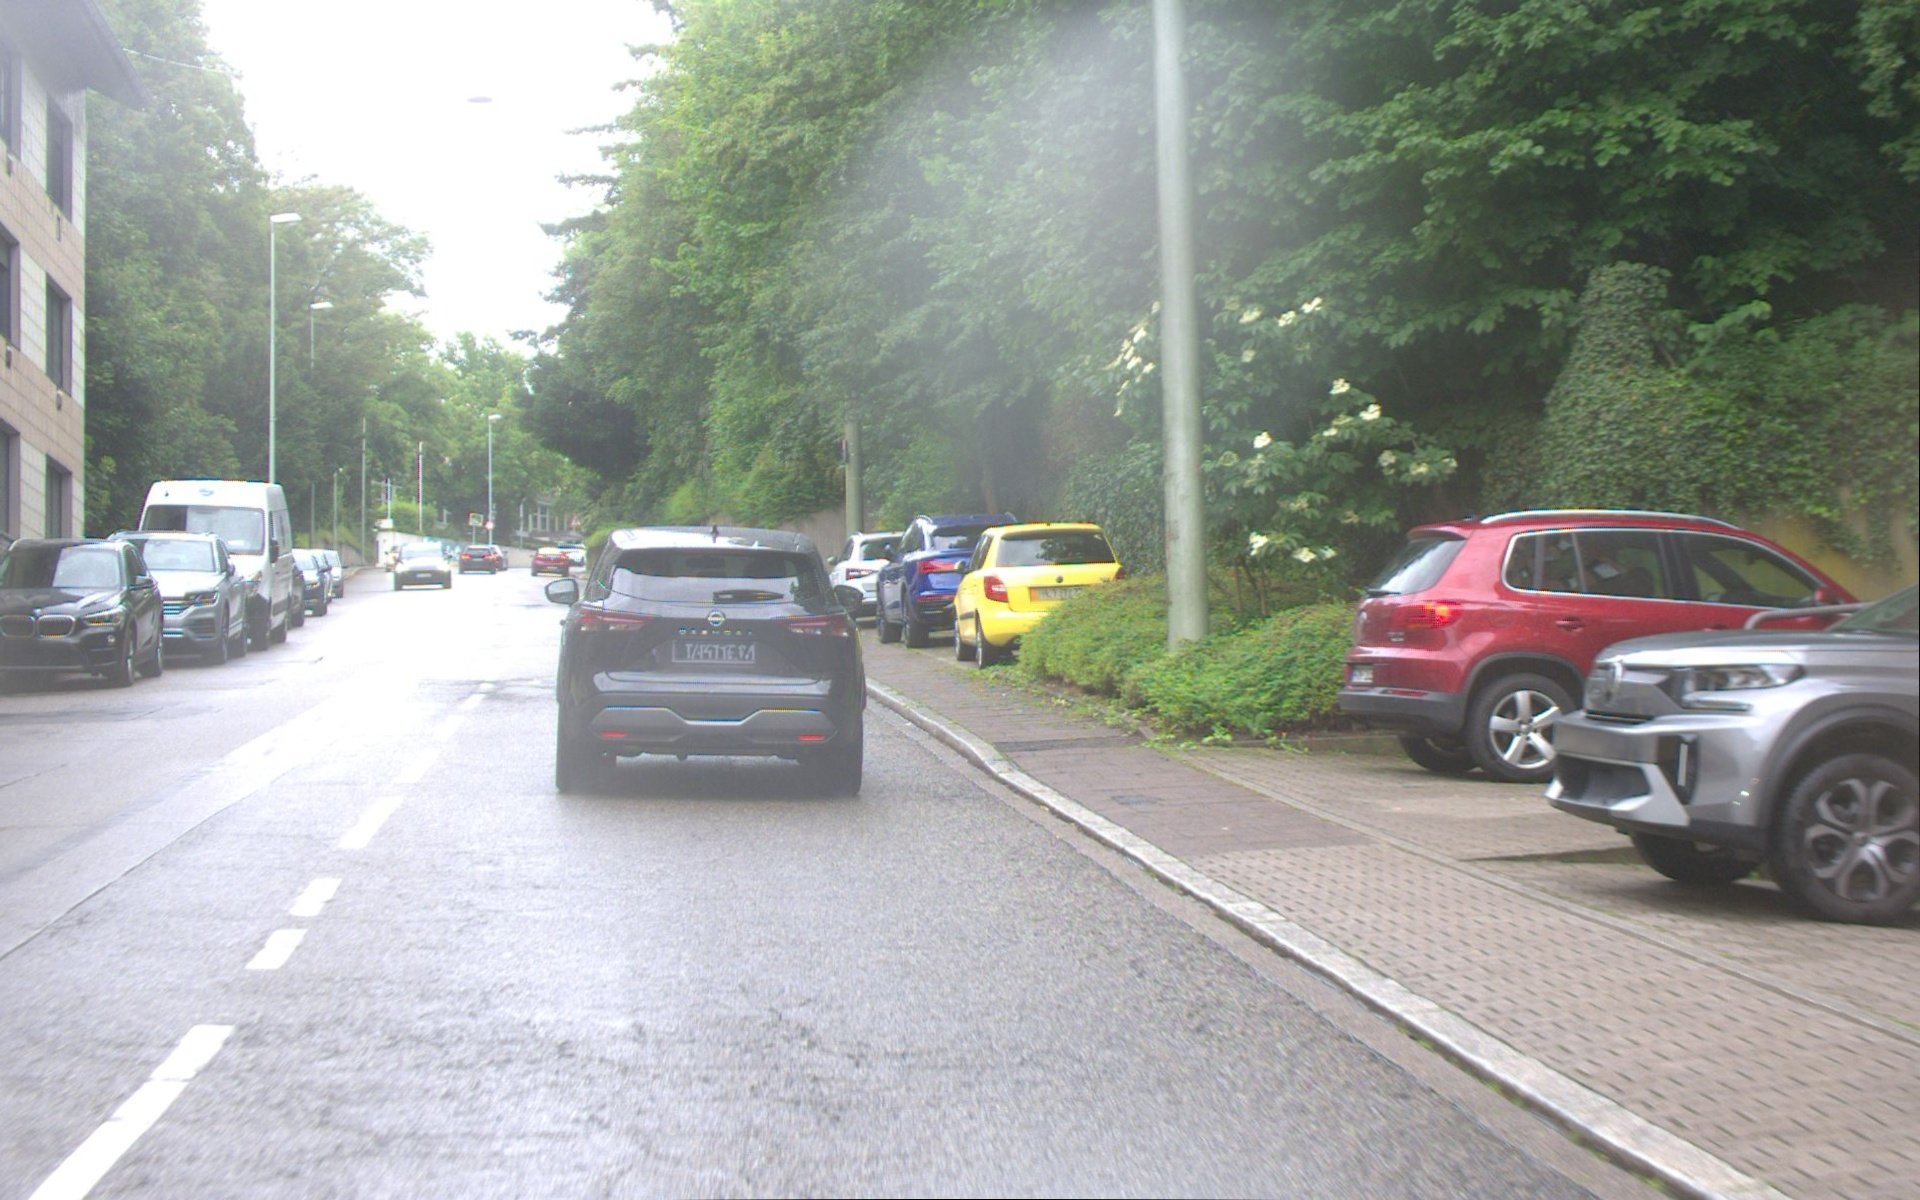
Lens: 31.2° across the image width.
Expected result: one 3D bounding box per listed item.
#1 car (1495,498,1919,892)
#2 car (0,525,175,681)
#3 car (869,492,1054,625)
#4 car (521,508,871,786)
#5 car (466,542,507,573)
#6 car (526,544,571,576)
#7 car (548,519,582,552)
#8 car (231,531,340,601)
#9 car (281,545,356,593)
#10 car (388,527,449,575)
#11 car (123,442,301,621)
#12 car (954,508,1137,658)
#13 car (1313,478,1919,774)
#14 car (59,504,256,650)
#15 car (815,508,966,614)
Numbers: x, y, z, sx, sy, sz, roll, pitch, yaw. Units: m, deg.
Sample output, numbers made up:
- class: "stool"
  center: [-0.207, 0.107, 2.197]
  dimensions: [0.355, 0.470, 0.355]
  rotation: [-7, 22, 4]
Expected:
- class: "car"
  center: [4.537, 0.385, 14.292]
  dimensions: [4.197, 1.491, 1.760]
  rotation: [1, 1, -8]
- class: "car"
  center: [-10.022, -0.008, 38.392]
  dimensions: [1.990, 1.579, 4.306]
  rotation: [-1, 2, -7]
- class: "car"
  center: [-0.032, -0.552, 44.090]
  dimensions: [1.810, 1.524, 4.418]
  rotation: [-3, 2, -6]
- class: "car"
  center: [-1.715, 0.220, 21.653]
  dimensions: [1.993, 1.554, 4.001]
  rotation: [0, 2, -6]
- class: "car"
  center: [-24.695, -2.242, 179.239]
  dimensions: [2.074, 1.554, 4.001]
  rotation: [-1, 1, -7]
- class: "car"
  center: [-20.923, -2.048, 174.659]
  dimensions: [2.074, 1.554, 4.001]
  rotation: [-1, 1, -9]
- class: "car"
  center: [-25.793, -4.194, 224.747]
  dimensions: [1.993, 2.007, 4.000]
  rotation: [0, -1, -3]
- class: "car"
  center: [-14.627, -0.763, 74.740]
  dimensions: [1.990, 1.379, 4.459]
  rotation: [-1, 2, -7]
- class: "car"
  center: [-19.880, -0.980, 106.687]
  dimensions: [1.990, 1.379, 4.459]
  rotation: [-1, 2, -7]
- class: "car"
  center: [-18.731, -1.715, 119.050]
  dimensions: [1.993, 1.554, 4.001]
  rotation: [0, 2, -8]
- class: "car"
  center: [-11.023, -1.043, 51.022]
  dimensions: [1.990, 2.466, 5.786]
  rotation: [-1, 2, -7]
- class: "car"
  center: [0.876, -0.223, 37.185]
  dimensions: [1.632, 1.525, 4.001]
  rotation: [0, 1, -4]
- class: "car"
  center: [4.536, 0.158, 21.841]
  dimensions: [4.196, 1.728, 1.760]
  rotation: [1, 1, -10]
- class: "car"
  center: [-10.349, -0.350, 44.626]
  dimensions: [1.990, 1.749, 4.481]
  rotation: [-1, 2, -7]
- class: "car"
  center: [-1.153, -0.647, 54.894]
  dimensions: [1.810, 1.524, 4.418]
  rotation: [-3, 2, -8]
